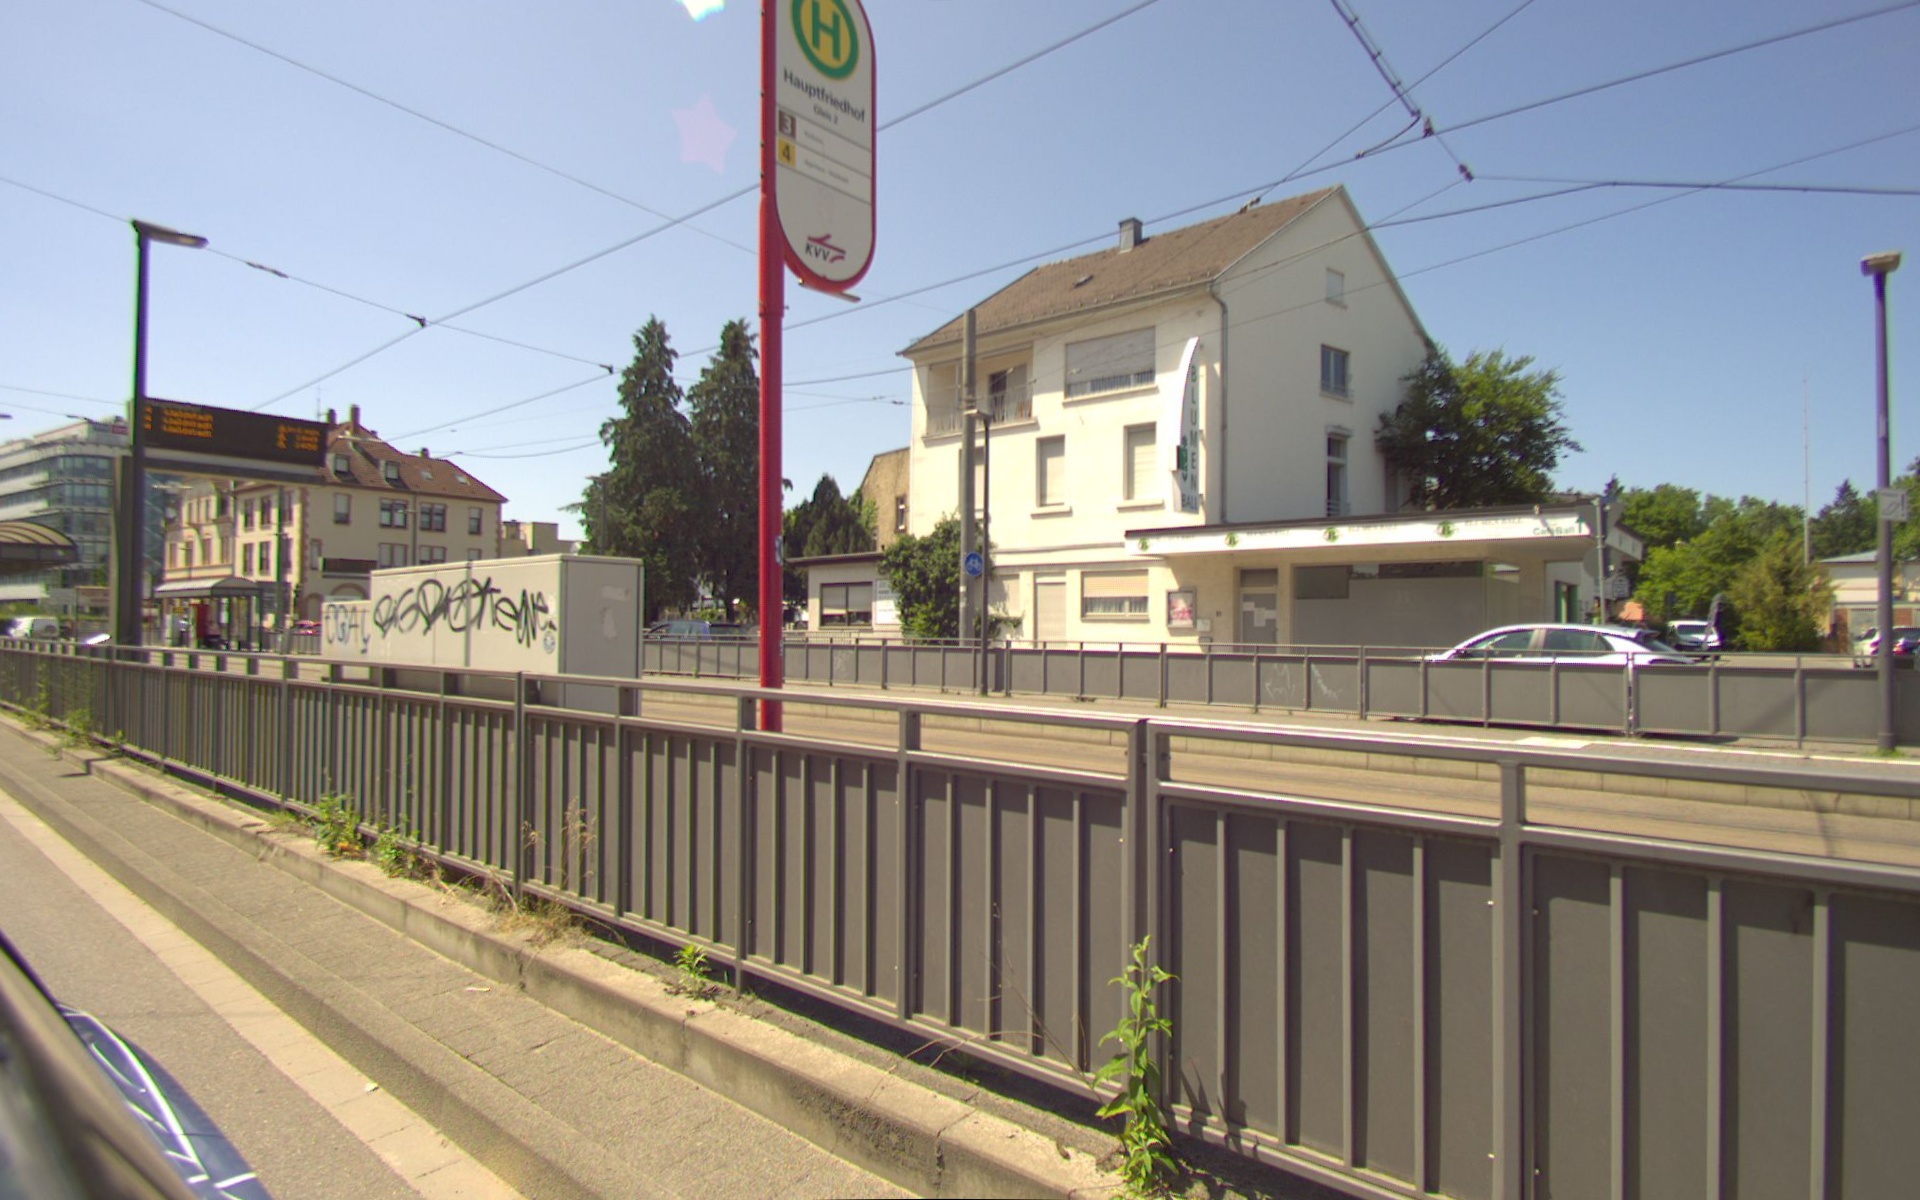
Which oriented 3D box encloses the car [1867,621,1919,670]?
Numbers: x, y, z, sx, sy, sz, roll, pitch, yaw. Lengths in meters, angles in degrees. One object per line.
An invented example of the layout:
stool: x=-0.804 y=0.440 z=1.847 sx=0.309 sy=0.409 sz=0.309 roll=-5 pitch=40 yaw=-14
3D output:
car: x=29.385 y=1.423 z=31.474 sx=1.644 sy=1.457 sz=3.761 roll=-1 pitch=-3 yaw=41

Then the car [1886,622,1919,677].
car: x=25.582 y=1.322 z=26.671 sx=1.644 sy=1.380 sz=3.760 roll=-1 pitch=-3 yaw=42

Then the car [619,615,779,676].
car: x=-6.831 y=1.129 z=26.259 sx=4.476 sy=1.453 sz=1.837 roll=-1 pitch=-2 yaw=41

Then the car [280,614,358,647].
car: x=-28.799 y=1.371 z=45.420 sx=4.172 sy=1.406 sz=1.799 roll=-1 pitch=-2 yaw=41

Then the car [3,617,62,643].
car: x=-66.092 y=2.131 z=72.085 sx=4.682 sy=1.830 sz=1.841 roll=-1 pitch=-3 yaw=32

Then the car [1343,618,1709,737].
car: x=7.582 y=0.975 z=13.817 sx=4.052 sy=1.373 sz=1.797 roll=-1 pitch=-4 yaw=44

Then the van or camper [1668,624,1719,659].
van or camper: x=34.631 y=1.935 z=47.844 sx=1.686 sy=1.578 sz=3.784 roll=-1 pitch=-2 yaw=32
